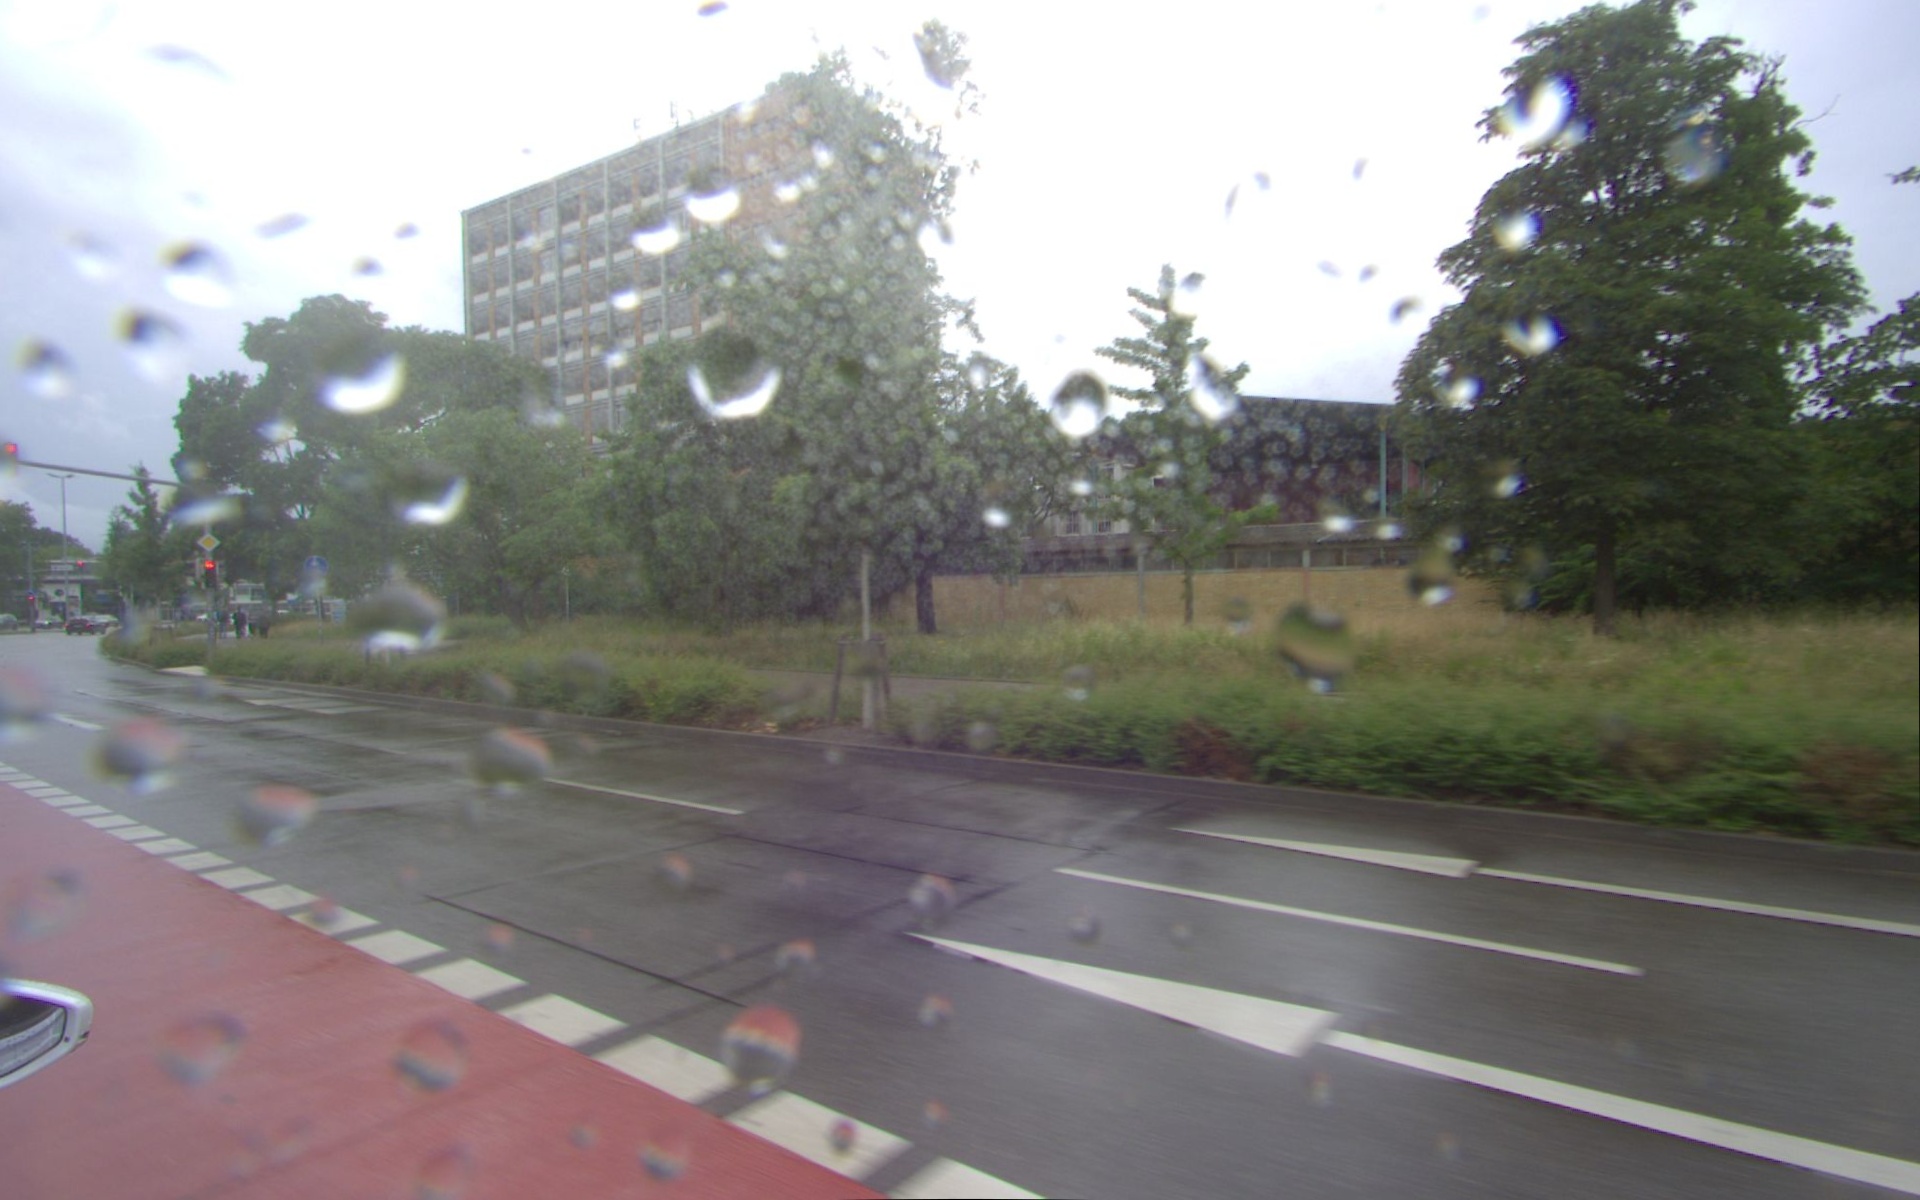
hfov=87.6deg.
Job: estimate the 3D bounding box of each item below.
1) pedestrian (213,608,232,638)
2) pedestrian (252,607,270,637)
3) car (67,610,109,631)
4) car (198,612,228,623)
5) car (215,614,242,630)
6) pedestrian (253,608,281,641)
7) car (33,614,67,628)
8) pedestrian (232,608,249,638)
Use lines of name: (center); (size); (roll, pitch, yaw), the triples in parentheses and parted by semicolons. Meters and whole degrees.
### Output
pedestrian: (-39.688, 1.230, 53.863); (0.748, 1.609, 0.928); (-1, 1, -40)
pedestrian: (-38.543, 1.219, 55.209); (0.697, 1.609, 0.928); (-1, 1, -40)
car: (-73.279, 1.720, 84.172); (1.769, 1.665, 4.139); (0, 0, -28)
car: (-113.324, 2.618, 151.957); (1.762, 1.665, 4.394); (0, 0, -8)
car: (-79.377, 2.404, 108.702); (1.769, 1.665, 4.139); (0, 0, -28)
pedestrian: (-34.157, 1.192, 49.356); (1.014, 1.609, 0.928); (-1, 1, -40)
car: (-101.059, 2.358, 111.240); (1.673, 1.434, 4.166); (-1, 0, -25)
pedestrian: (-39.154, 1.224, 54.499); (0.697, 1.609, 0.928); (-1, 1, -40)
